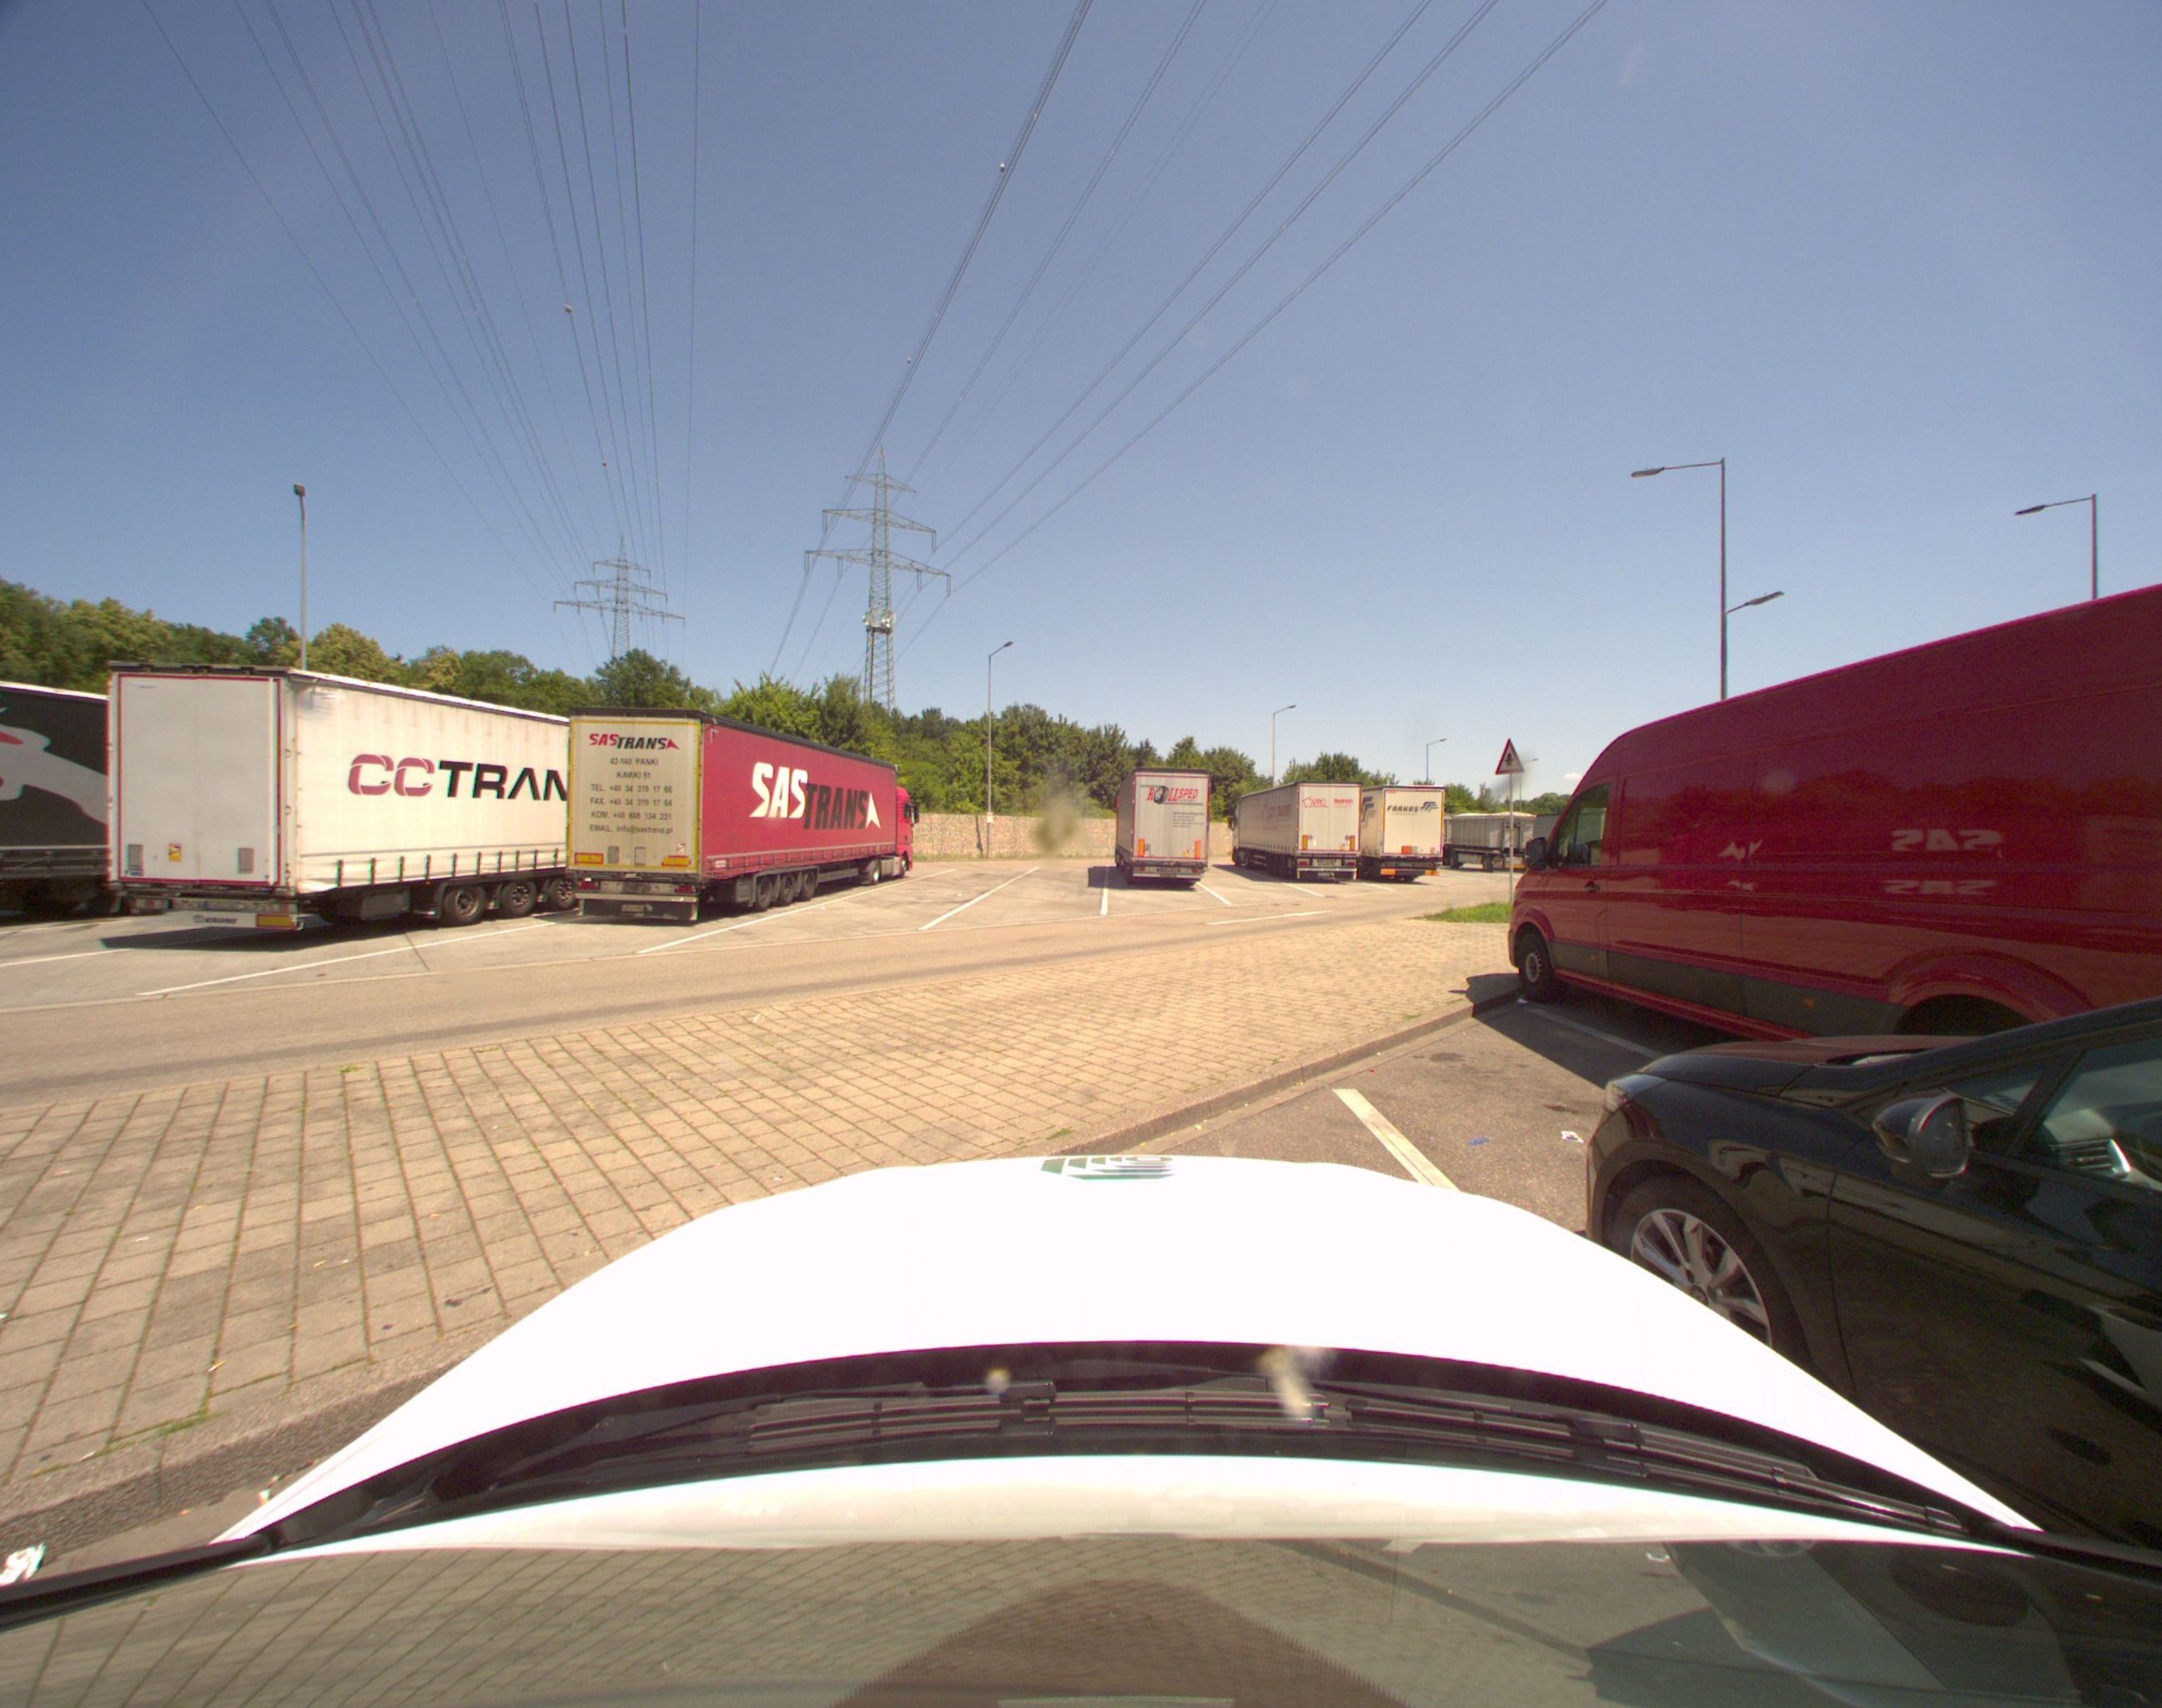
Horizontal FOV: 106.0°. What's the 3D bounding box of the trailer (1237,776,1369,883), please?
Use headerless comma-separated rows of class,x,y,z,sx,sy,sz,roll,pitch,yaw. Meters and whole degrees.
trailer,9.963,-1.147,38.612,2.828,4.132,13.730,1,2,2

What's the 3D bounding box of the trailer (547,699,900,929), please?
trailer,-8.031,-0.953,21.647,2.896,4.131,13.731,1,2,2

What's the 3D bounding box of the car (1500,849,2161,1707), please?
car,2.525,0.759,1.169,1.733,1.482,3.813,-1,1,-3

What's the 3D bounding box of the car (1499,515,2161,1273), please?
car,5.168,0.093,5.479,2.055,2.695,6.405,-1,1,6

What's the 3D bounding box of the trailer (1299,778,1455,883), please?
trailer,13.619,-1.113,39.276,2.828,4.132,13.730,1,2,2

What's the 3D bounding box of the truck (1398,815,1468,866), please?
truck,24.929,-0.998,57.940,2.840,3.364,5.488,1,1,3

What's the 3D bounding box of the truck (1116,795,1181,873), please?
truck,3.176,-0.985,39.898,2.841,3.483,5.486,1,1,2

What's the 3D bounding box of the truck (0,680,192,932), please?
truck,-18.573,-0.805,13.553,2.692,4.016,4.326,1,2,2

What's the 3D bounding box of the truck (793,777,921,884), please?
truck,-7.793,-0.835,29.083,2.841,3.427,5.486,1,1,2

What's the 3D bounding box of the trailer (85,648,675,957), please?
trailer,-12.197,-0.890,16.318,2.718,4.209,10.175,1,2,2

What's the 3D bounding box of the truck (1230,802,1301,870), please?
truck,10.171,-1.022,45.423,2.841,3.483,5.486,1,1,2

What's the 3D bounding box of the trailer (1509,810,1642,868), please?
trailer,38.383,-1.220,64.126,2.826,4.049,13.737,1,2,3

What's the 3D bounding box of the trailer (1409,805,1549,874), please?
trailer,24.540,-0.989,51.442,2.826,3.717,13.737,1,2,3

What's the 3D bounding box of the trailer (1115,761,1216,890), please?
trailer,3.032,-1.098,33.286,2.896,4.132,13.727,1,2,1
